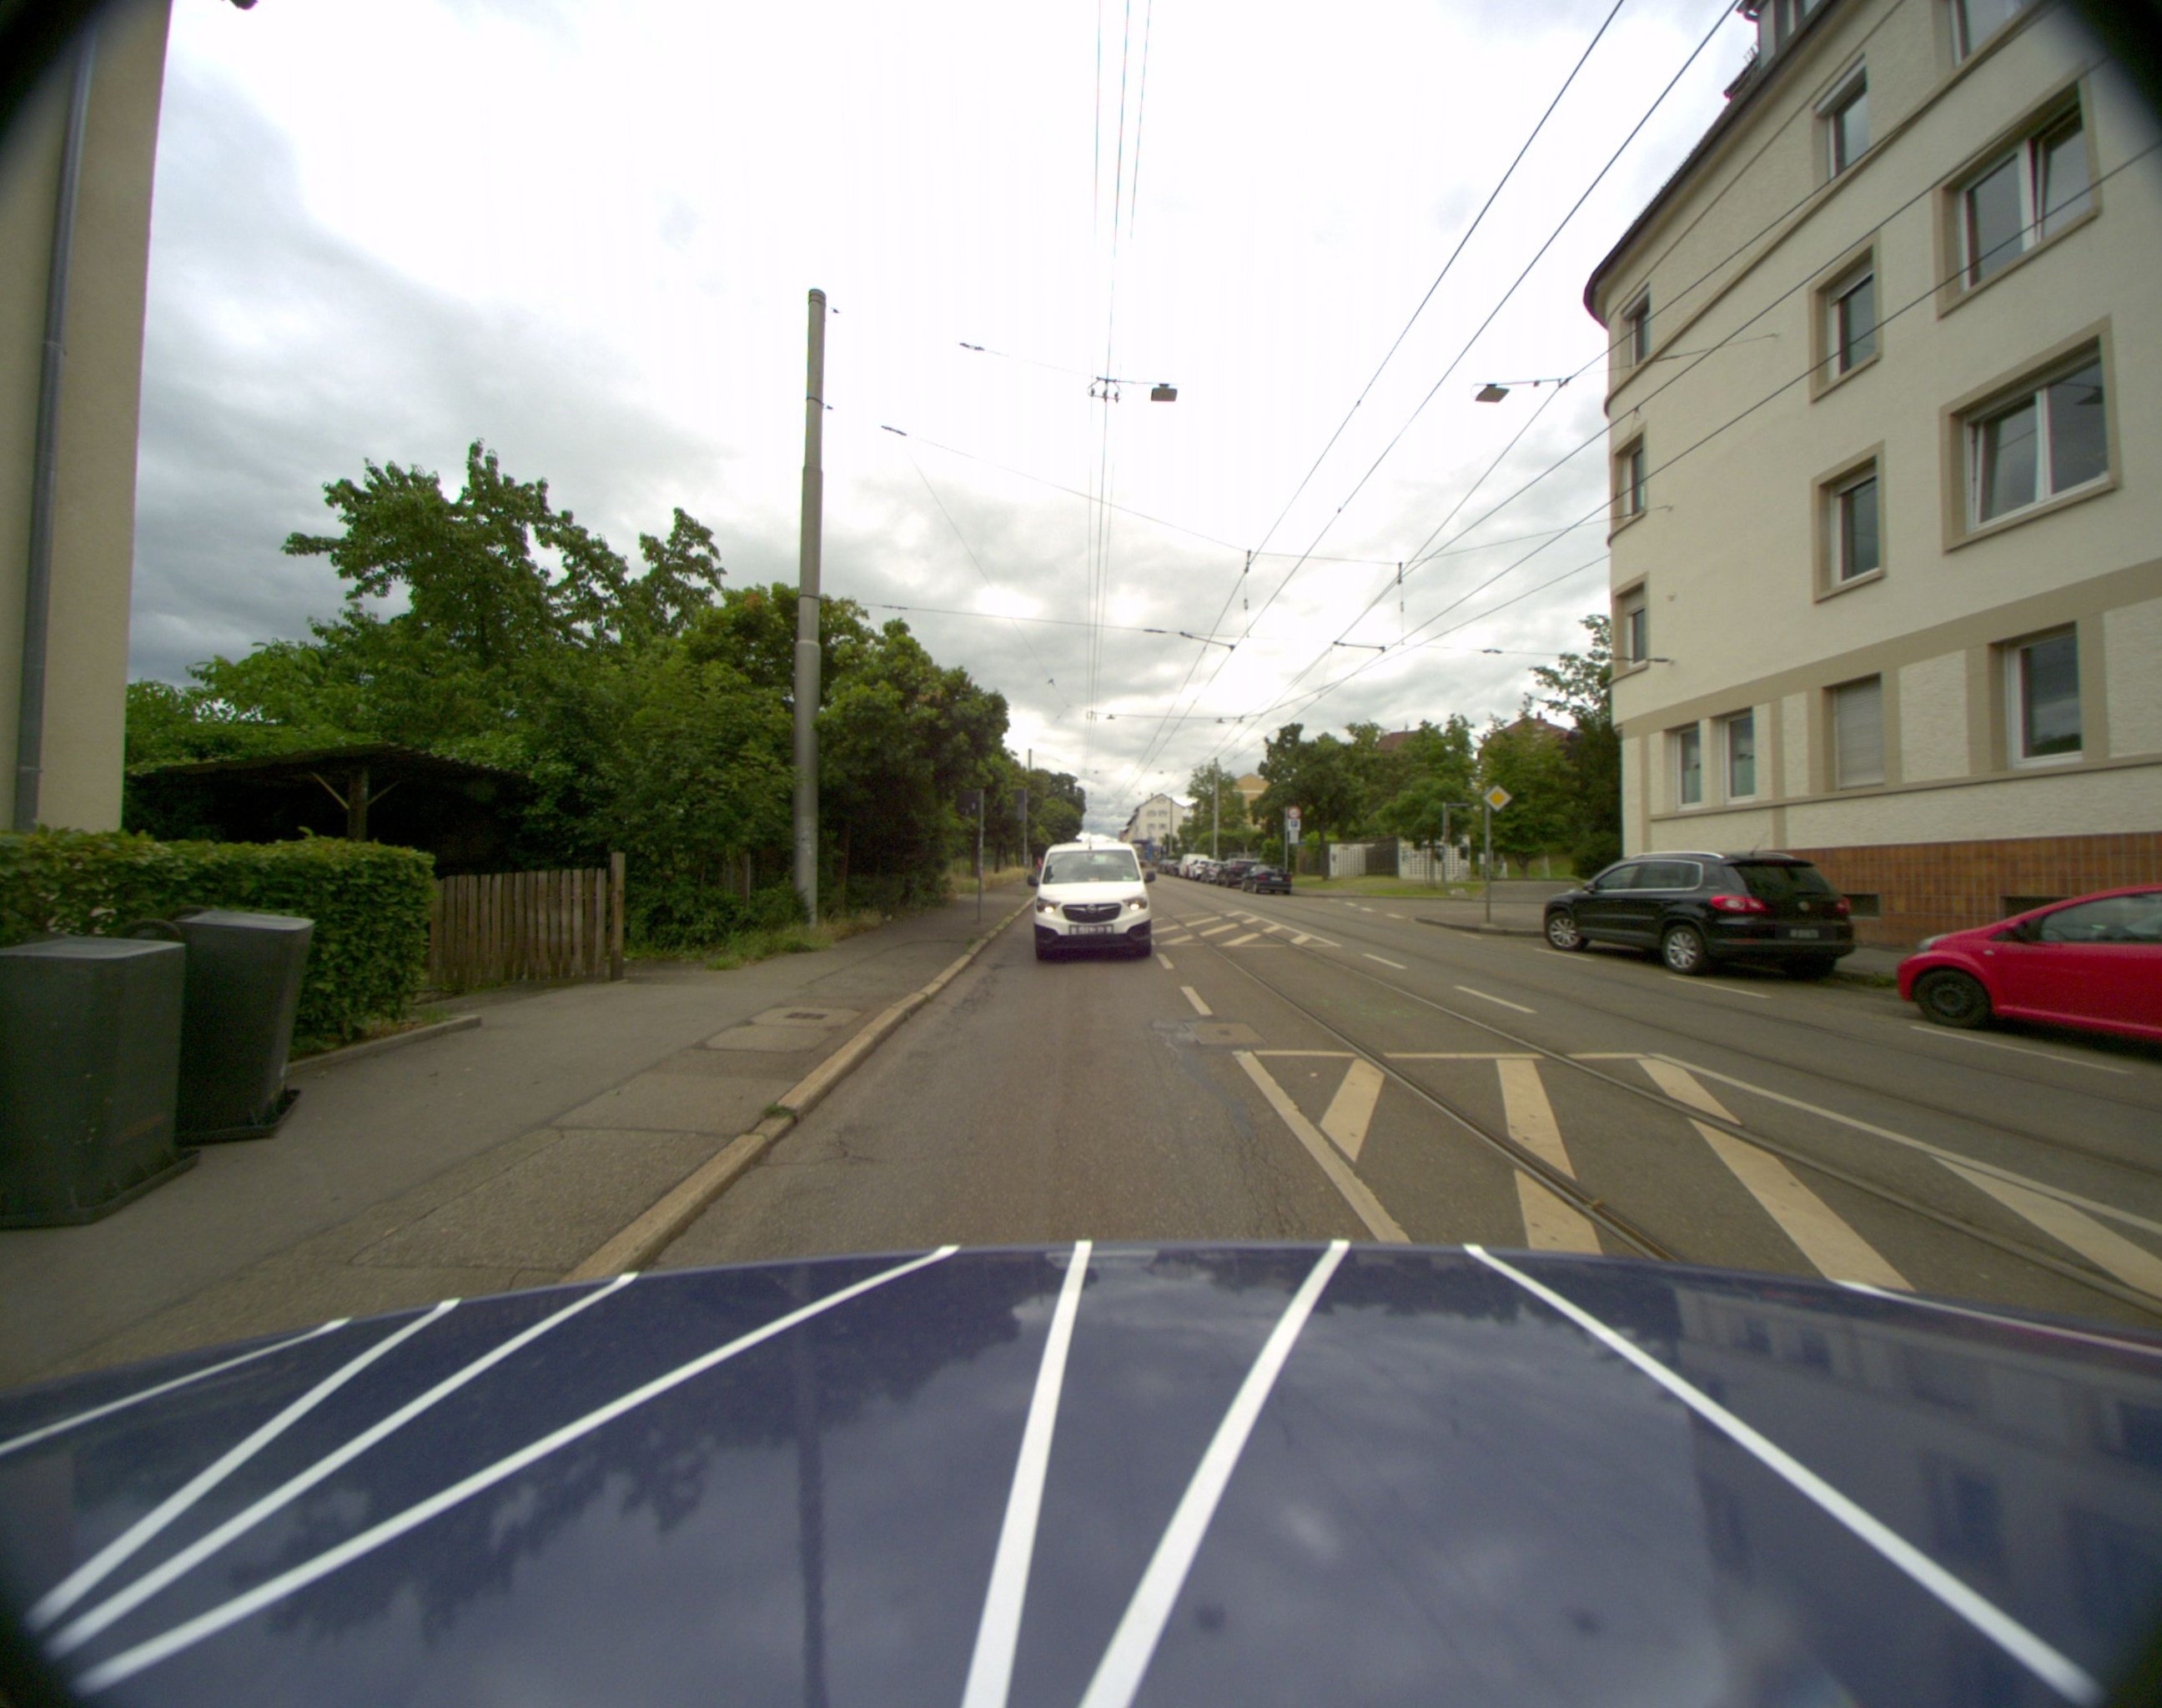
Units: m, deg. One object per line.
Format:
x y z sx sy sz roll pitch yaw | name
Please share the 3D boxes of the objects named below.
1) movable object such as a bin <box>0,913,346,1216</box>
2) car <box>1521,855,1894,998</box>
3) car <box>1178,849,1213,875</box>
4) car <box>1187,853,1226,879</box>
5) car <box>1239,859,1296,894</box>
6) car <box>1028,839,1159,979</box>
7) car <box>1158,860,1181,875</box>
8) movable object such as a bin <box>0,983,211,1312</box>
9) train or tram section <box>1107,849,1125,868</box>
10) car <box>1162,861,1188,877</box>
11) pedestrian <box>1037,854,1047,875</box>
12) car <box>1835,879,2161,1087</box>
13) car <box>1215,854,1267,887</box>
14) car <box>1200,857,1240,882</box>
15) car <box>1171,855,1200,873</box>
-4.271 0.917 3.602 0.794 1.211 0.789 0 1 -3 | movable object such as a bin
8.865 0.887 11.408 1.872 1.636 4.401 1 1 -1 | car
9.128 0.617 60.750 1.974 1.902 4.733 1 1 -1 | car
9.010 0.832 54.973 1.974 1.677 4.632 1 1 -1 | car
8.941 1.042 36.726 1.625 1.469 4.155 1 1 -1 | car
0.221 0.729 12.282 1.730 1.850 4.421 0 0 1 | car
9.139 1.368 78.413 1.794 1.396 4.160 1 1 -1 | car
-4.076 1.049 2.811 0.794 1.006 0.789 0 1 -3 | movable object such as a bin
6.659 0.781 146.003 2.857 3.615 12.129 0 0 0 | train or tram section
8.990 1.404 72.701 1.845 1.379 4.439 1 1 -1 | car
-2.980 0.774 57.799 0.716 1.611 0.718 0 1 0 | pedestrian
8.938 1.037 6.226 1.625 1.455 3.743 1 1 -4 | car
9.026 0.885 43.221 1.974 1.677 4.443 1 1 -1 | car
8.971 0.973 49.311 1.743 1.500 3.868 1 1 -1 | car
9.096 0.839 66.529 1.845 1.379 4.517 1 1 -1 | car
